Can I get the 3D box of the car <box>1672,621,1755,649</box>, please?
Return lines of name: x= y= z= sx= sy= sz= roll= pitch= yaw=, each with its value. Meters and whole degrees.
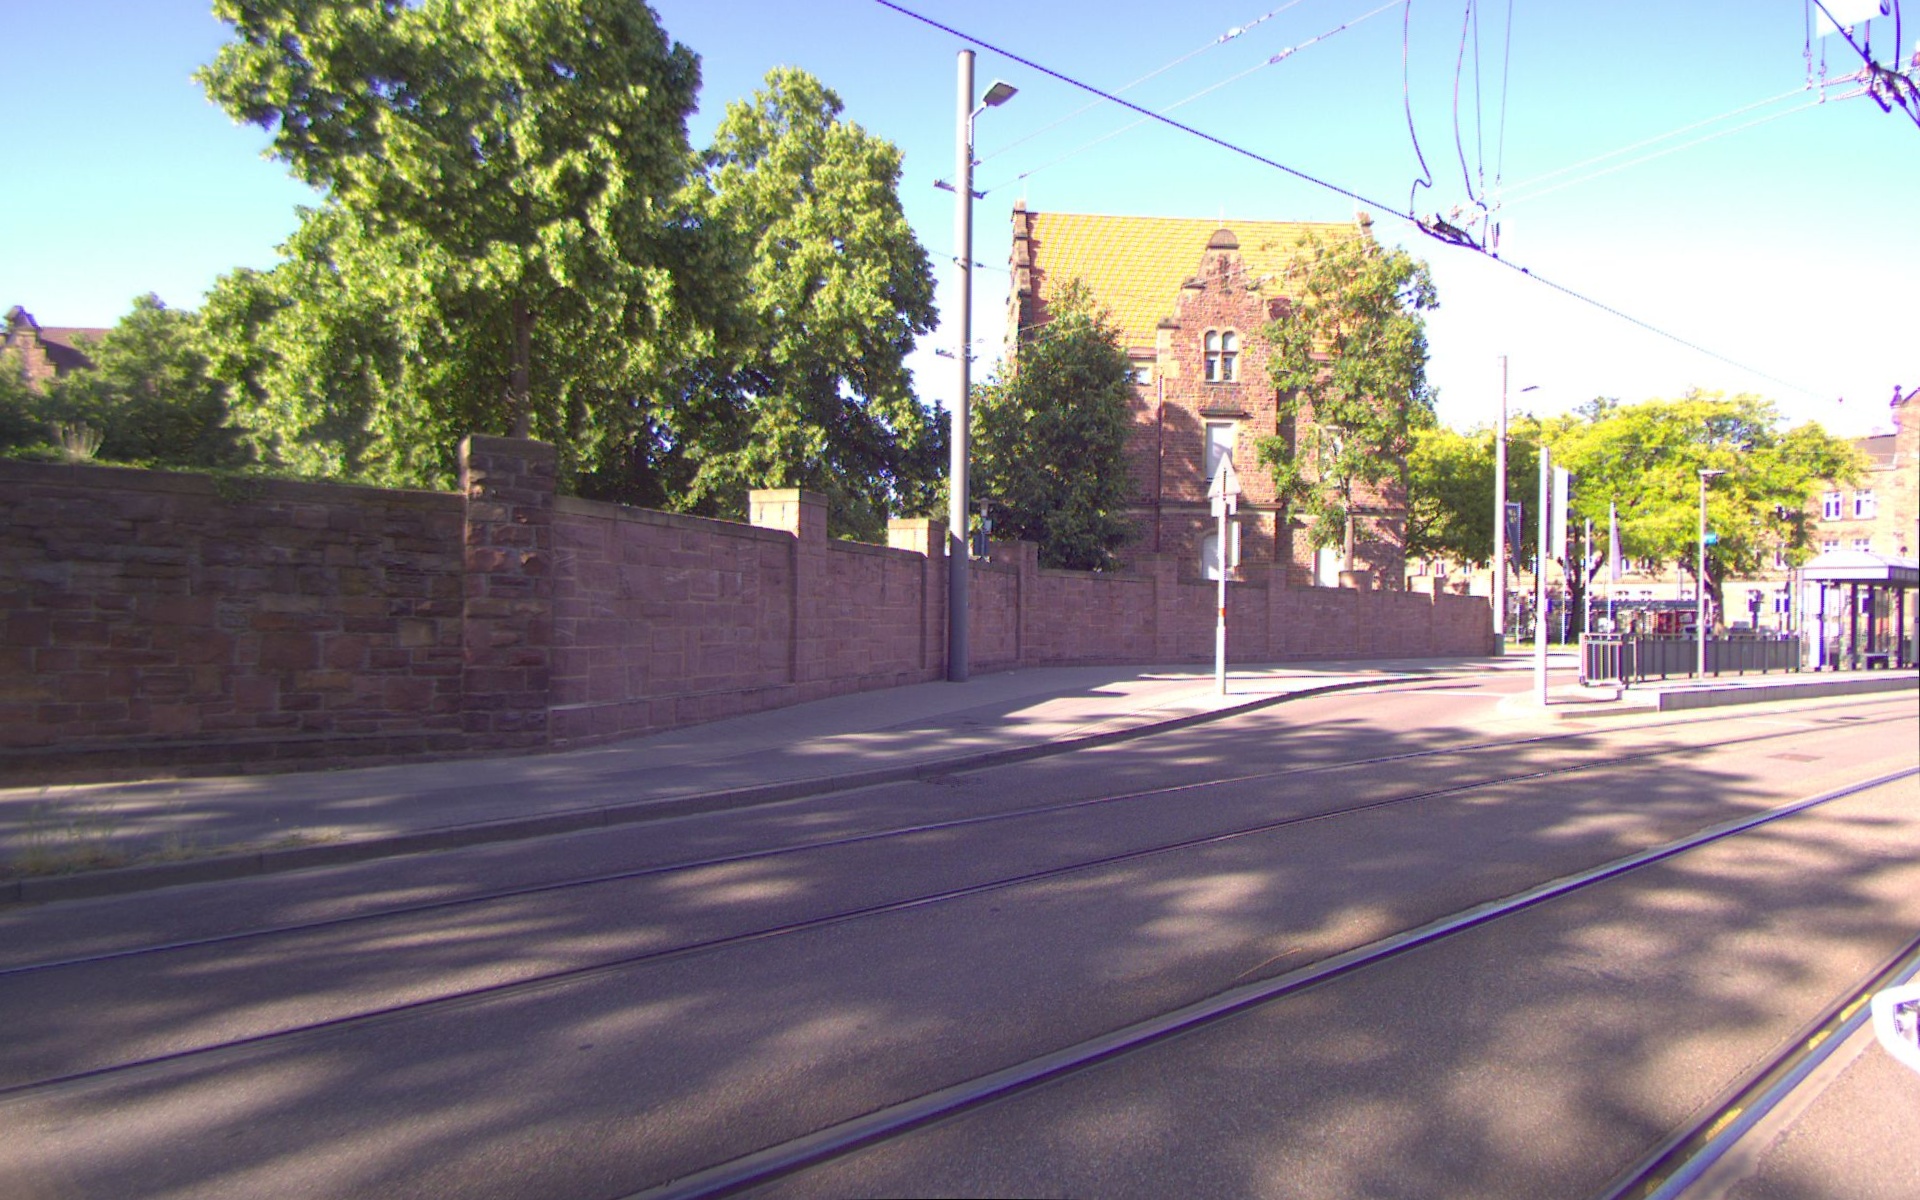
car: x=49.212 y=2.251 z=65.668 sx=1.798 sy=1.651 sz=3.964 roll=2 pitch=0 yaw=-32

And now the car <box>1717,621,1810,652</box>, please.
car: x=47.786 y=2.168 z=59.784 sx=1.798 sy=1.651 sz=3.964 roll=2 pitch=0 yaw=-32

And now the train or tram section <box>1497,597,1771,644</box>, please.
train or tram section: x=50.064 y=1.470 z=75.872 sx=3.312 sy=3.196 sz=17.281 roll=2 pitch=-1 yaw=-33
